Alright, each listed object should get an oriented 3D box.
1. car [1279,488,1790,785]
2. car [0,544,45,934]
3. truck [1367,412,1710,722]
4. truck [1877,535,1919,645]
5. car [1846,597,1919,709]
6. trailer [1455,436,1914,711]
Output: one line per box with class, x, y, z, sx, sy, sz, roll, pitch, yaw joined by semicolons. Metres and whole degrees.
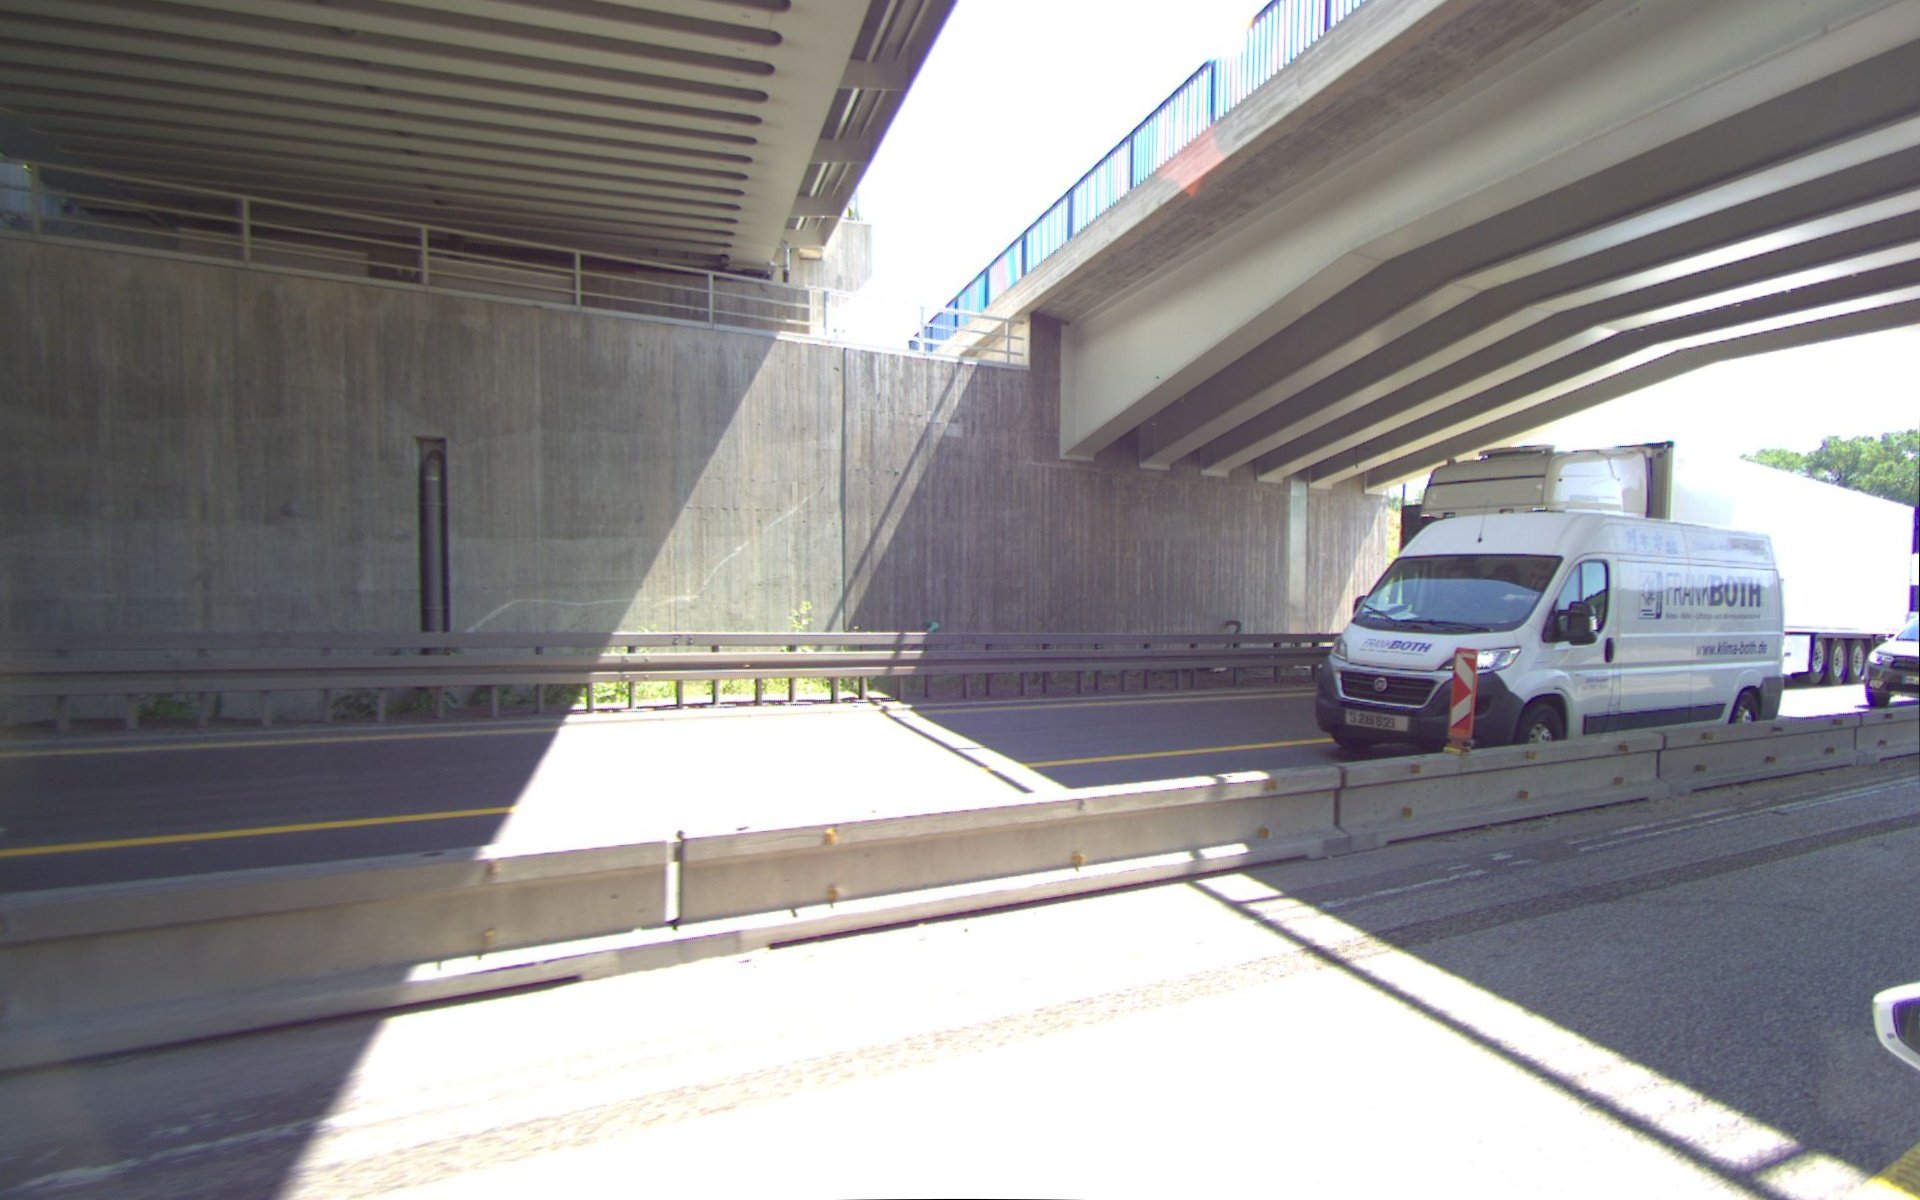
car;6.143;0.350;10.409;5.991;2.361;1.970;2;0;-32
car;-5.587;0.538;2.847;4.092;1.631;1.740;2;0;-30
truck;9.219;-0.467;15.940;4.838;4.106;2.853;1;2;-36
truck;34.900;-0.285;35.817;8.442;3.623;2.788;0;1;-45
car;16.398;0.832;16.433;4.033;1.693;1.737;1;1;-32
trailer;15.256;-0.362;20.242;14.213;4.094;2.857;1;2;-35
